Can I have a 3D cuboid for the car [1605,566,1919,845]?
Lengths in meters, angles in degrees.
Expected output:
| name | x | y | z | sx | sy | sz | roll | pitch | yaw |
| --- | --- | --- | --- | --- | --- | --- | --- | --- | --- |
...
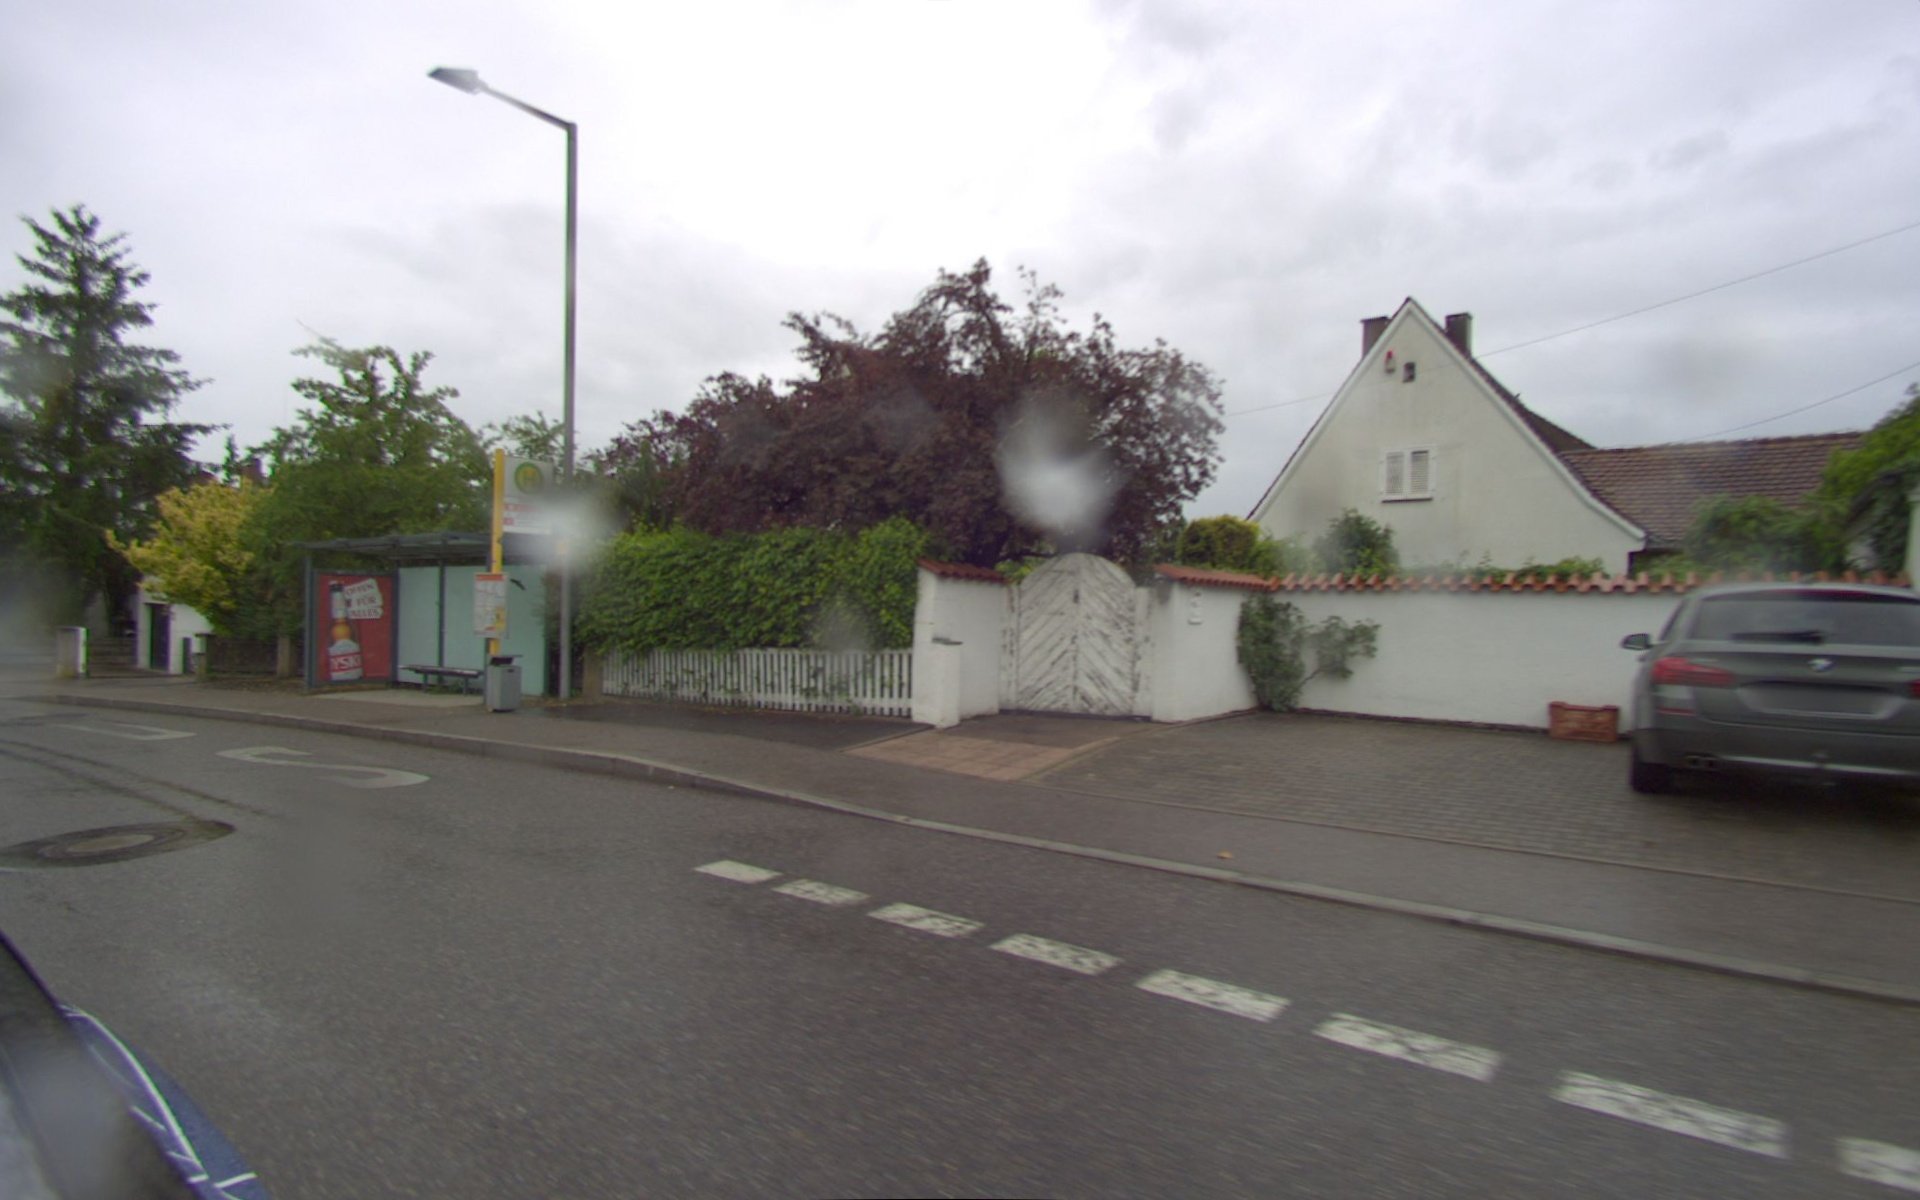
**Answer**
| name | x | y | z | sx | sy | sz | roll | pitch | yaw |
| --- | --- | --- | --- | --- | --- | --- | --- | --- | --- |
| car | 6.080 | 0.615 | 7.507 | 1.836 | 1.487 | 4.498 | -2 | -2 | 37 |
